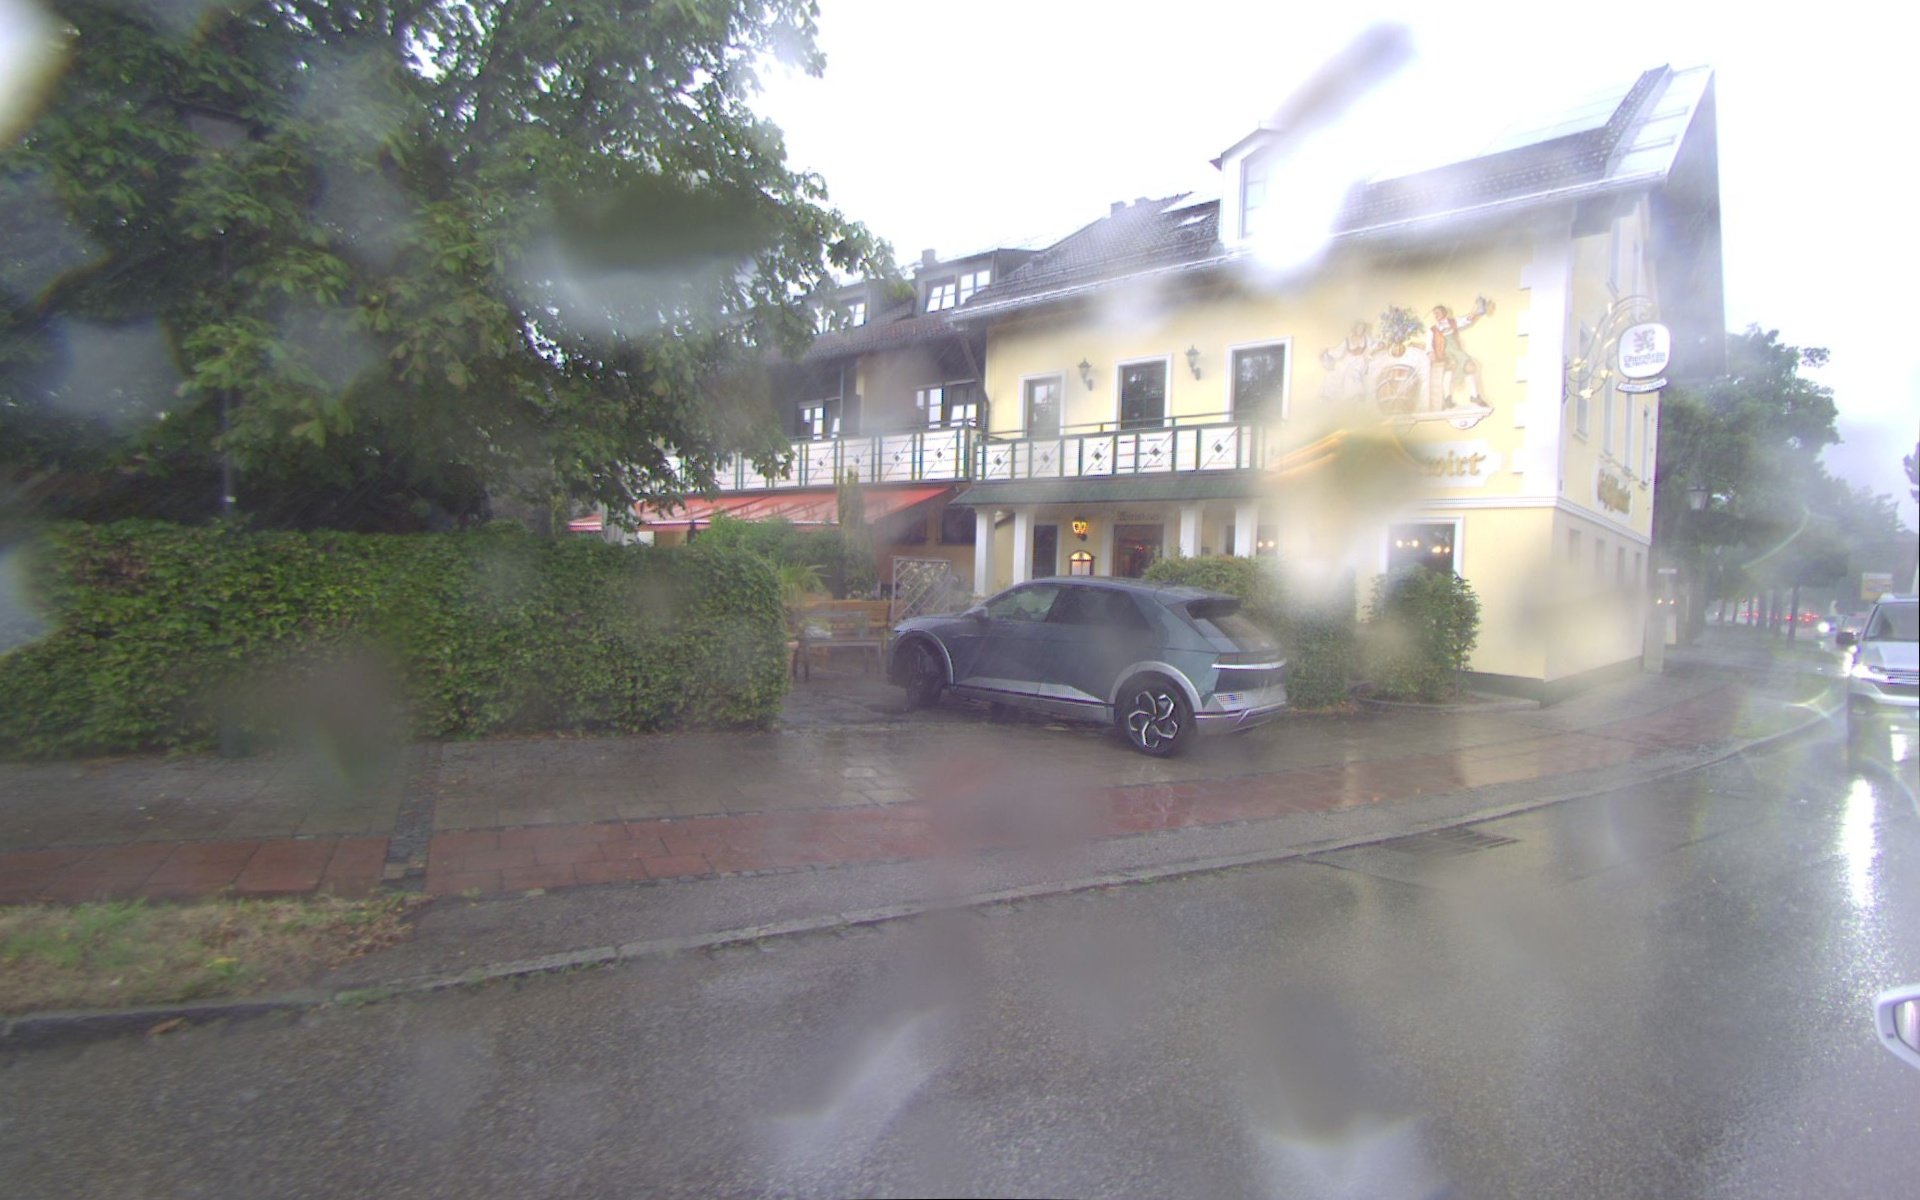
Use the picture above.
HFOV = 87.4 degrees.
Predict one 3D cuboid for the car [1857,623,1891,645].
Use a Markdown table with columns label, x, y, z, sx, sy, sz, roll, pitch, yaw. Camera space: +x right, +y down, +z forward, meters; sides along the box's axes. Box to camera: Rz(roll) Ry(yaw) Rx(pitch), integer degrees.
| label | x | y | z | sx | sy | sz | roll | pitch | yaw |
| --- | --- | --- | --- | --- | --- | --- | --- | --- | --- |
| car | 90.486 | 3.361 | 99.490 | 2.143 | 1.925 | 4.990 | 3 | 2 | 40 |

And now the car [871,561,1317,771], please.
| label | x | y | z | sx | sy | sz | roll | pitch | yaw |
| --- | --- | --- | --- | --- | --- | --- | --- | --- | --- |
| car | 1.288 | 0.503 | 10.850 | 4.421 | 1.589 | 1.831 | 6 | 5 | 39 |

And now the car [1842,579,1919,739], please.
| label | x | y | z | sx | sy | sz | roll | pitch | yaw |
| --- | --- | --- | --- | --- | --- | --- | --- | --- | --- |
| car | 13.818 | 0.808 | 13.910 | 4.666 | 1.997 | 1.834 | 2 | -2 | -41 |

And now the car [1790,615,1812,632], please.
| label | x | y | z | sx | sy | sz | roll | pitch | yaw |
| --- | --- | --- | --- | --- | --- | --- | --- | --- | --- |
| car | 93.845 | 2.626 | 112.071 | 1.841 | 1.781 | 4.461 | -2 | -2 | 40 |

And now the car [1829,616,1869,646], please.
| label | x | y | z | sx | sy | sz | roll | pitch | yaw |
| --- | --- | --- | --- | --- | --- | --- | --- | --- | --- |
| car | 56.370 | 1.965 | 63.732 | 1.841 | 1.781 | 4.460 | -2 | -2 | 41 |

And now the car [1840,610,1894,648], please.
| label | x | y | z | sx | sy | sz | roll | pitch | yaw |
| --- | --- | --- | --- | --- | --- | --- | --- | --- | --- |
| car | 44.145 | 1.408 | 48.971 | 1.841 | 1.781 | 4.460 | -2 | -2 | 41 |
